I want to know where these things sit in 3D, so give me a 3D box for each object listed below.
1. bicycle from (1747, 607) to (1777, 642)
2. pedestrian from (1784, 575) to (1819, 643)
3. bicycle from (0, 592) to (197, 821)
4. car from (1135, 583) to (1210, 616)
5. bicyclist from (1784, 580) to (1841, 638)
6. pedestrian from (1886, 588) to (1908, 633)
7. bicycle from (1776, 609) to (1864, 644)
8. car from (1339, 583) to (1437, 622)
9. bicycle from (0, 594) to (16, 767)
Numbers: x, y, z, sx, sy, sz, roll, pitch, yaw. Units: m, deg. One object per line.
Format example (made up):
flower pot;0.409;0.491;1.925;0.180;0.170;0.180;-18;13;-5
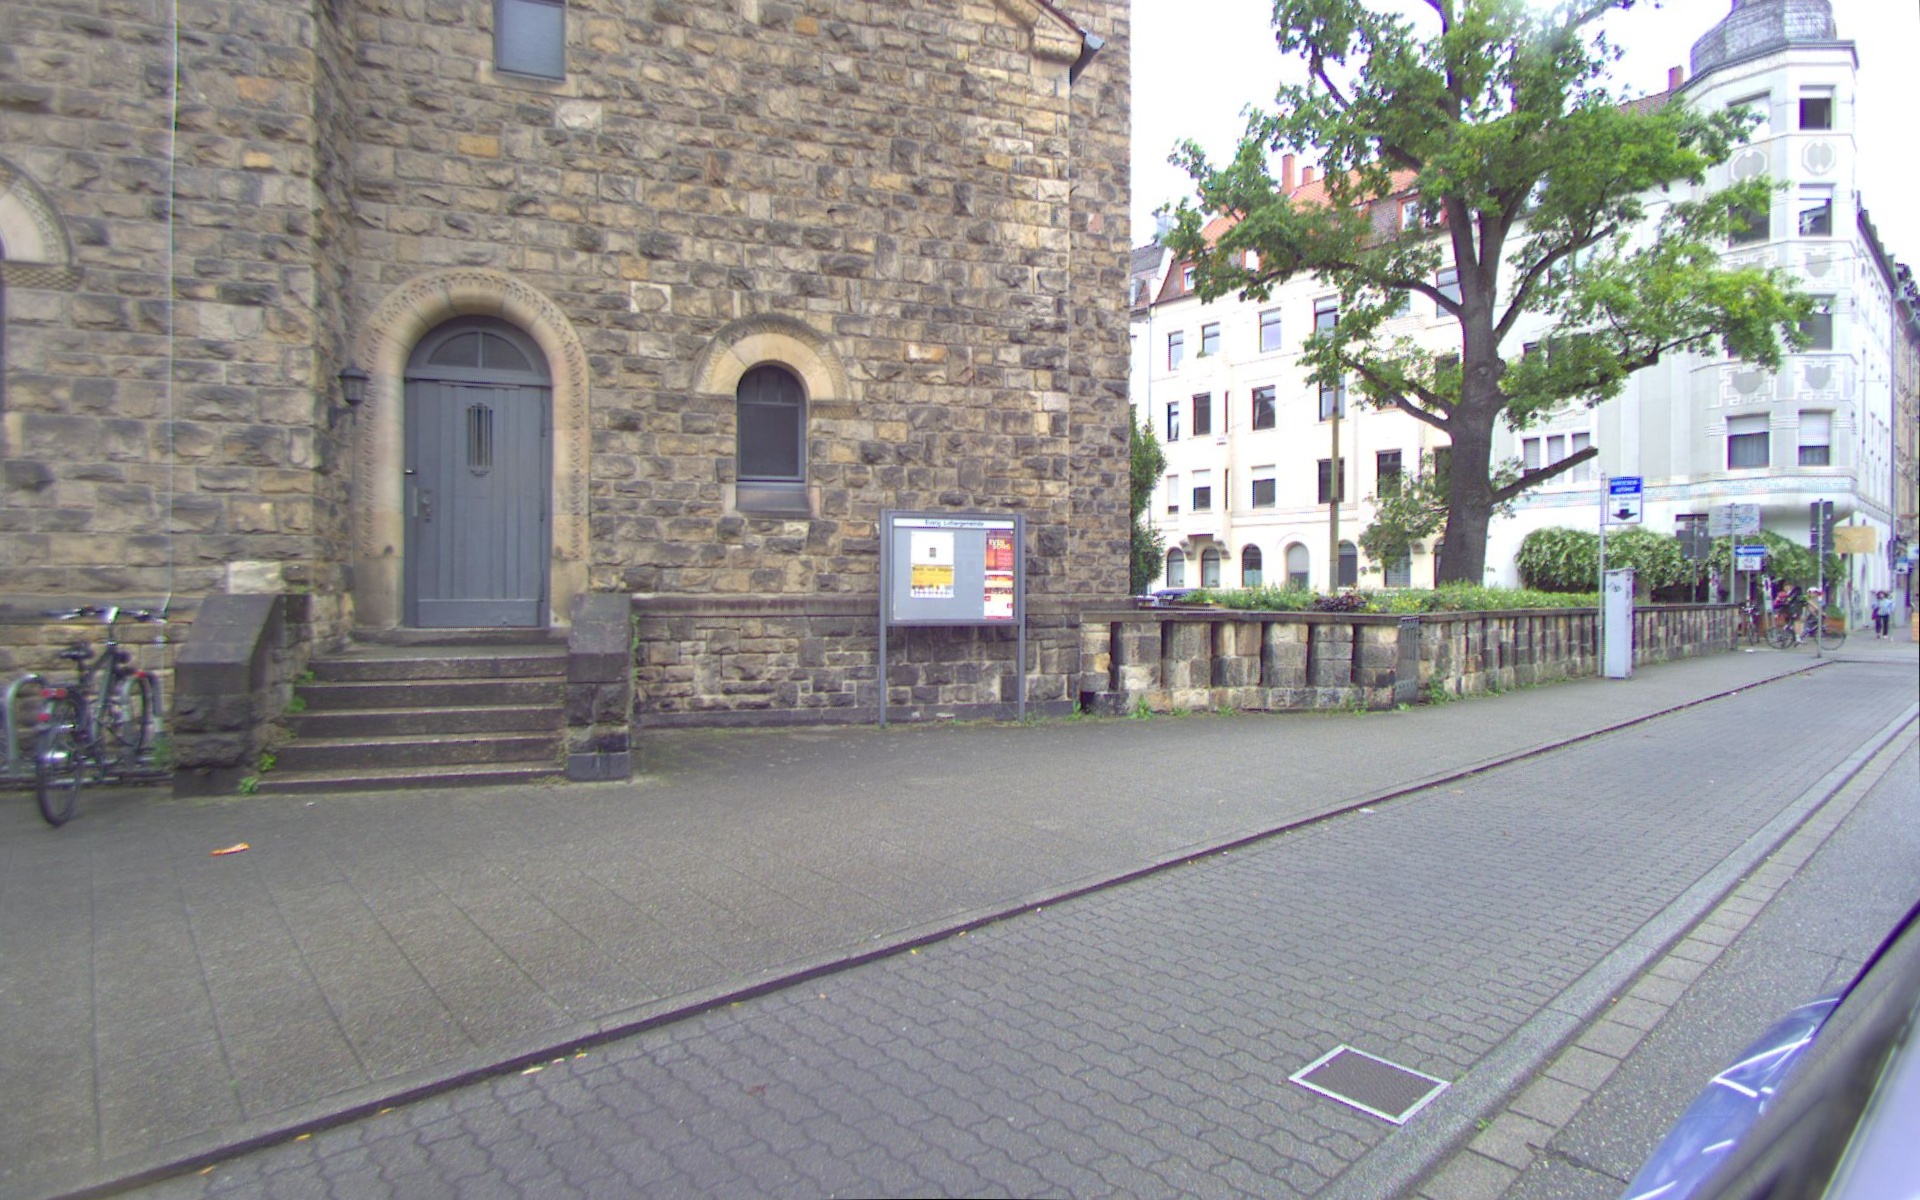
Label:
bicycle;24.488;0.734;30.885;1.990;0.904;0.390;-3;3;-42
pedestrian;24.018;0.248;28.898;0.681;1.896;0.645;0;1;-42
bicycle;-5.079;0.527;6.020;0.502;1.067;1.994;0;3;-27
car;9.926;-0.043;47.456;1.421;1.427;3.271;0;1;-38
bicyclist;23.225;0.230;27.591;1.127;1.549;0.530;1;0;34
pedestrian;31.245;0.340;33.754;0.385;1.479;0.481;0;1;-42
bicycle;23.349;0.712;27.513;1.768;0.896;0.530;1;1;34
car;16.896;0.077;40.064;1.421;1.427;3.271;0;1;-38
bicycle;-6.272;0.563;5.969;0.550;1.125;1.717;0;3;-27
